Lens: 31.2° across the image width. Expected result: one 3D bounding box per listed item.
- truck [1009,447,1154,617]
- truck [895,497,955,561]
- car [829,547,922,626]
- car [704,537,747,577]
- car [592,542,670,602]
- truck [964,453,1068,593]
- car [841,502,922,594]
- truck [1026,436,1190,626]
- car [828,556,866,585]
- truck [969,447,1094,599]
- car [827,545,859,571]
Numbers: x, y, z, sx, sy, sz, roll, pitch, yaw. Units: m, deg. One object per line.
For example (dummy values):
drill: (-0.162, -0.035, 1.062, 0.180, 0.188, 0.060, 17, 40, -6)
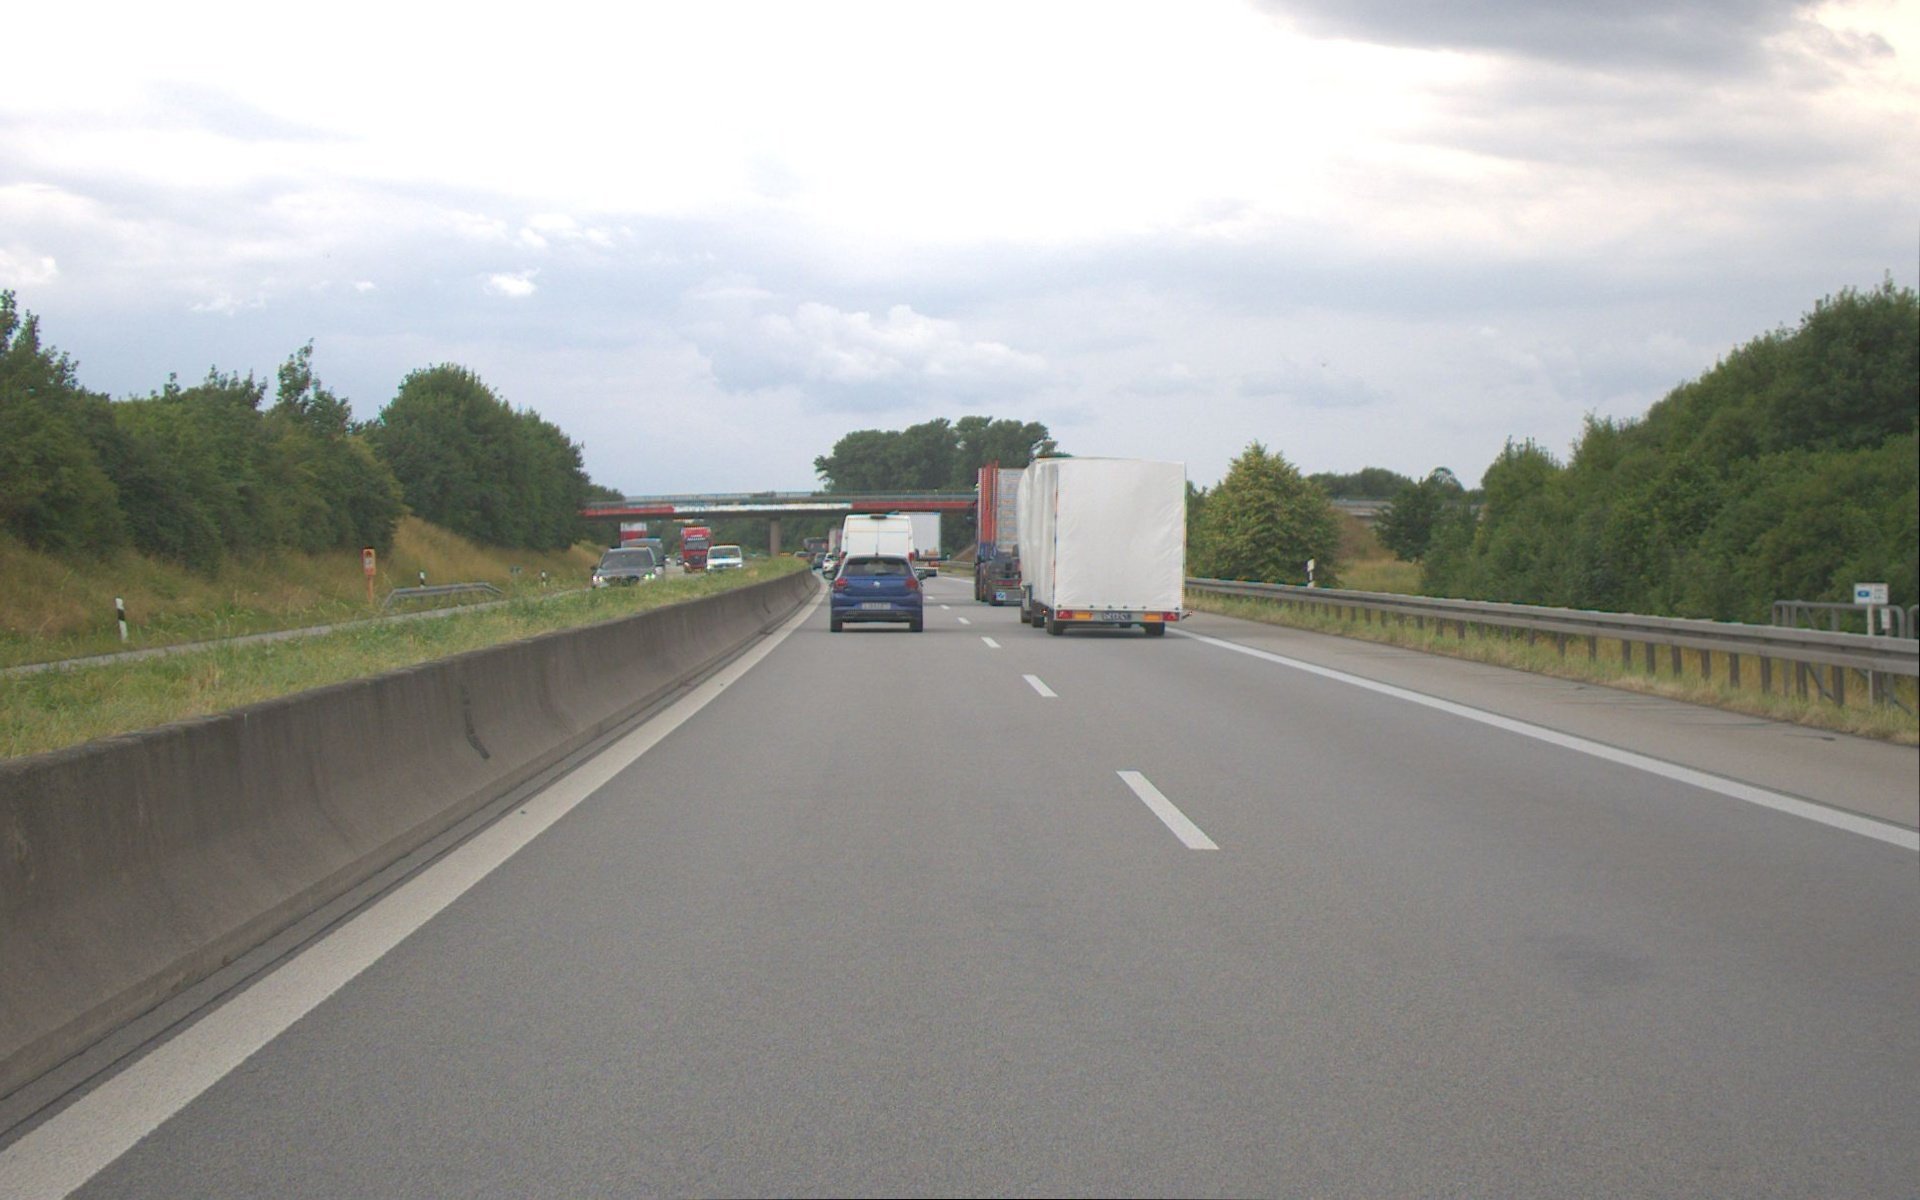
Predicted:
truck: (2.352, -1.337, 68.861, 2.429, 3.232, 7.248, 0, 1, -2)
truck: (-2.198, -4.315, 210.174, 3.110, 3.677, 9.324, -2, 1, -3)
car: (-1.545, -0.270, 63.799, 1.663, 1.402, 3.648, 0, 1, 0)
car: (-11.901, -2.218, 174.676, 1.979, 2.007, 5.131, 0, 1, -2)
car: (-9.771, -0.860, 102.463, 1.919, 1.688, 4.597, -2, 1, -1)
truck: (1.638, -2.300, 102.961, 2.673, 4.032, 5.513, -1, 1, -3)
car: (-2.221, -1.449, 96.046, 2.130, 2.474, 5.840, 0, 1, -2)
truck: (2.570, -1.207, 61.671, 2.415, 3.211, 7.144, 0, 1, -2)
car: (-6.373, -1.673, 194.190, 1.935, 1.638, 4.903, 0, 1, 0)
truck: (1.932, -2.185, 97.571, 2.673, 4.032, 11.109, -1, 1, -3)
car: (-7.754, -2.791, 227.698, 1.993, 1.678, 4.001, 0, 1, -3)
